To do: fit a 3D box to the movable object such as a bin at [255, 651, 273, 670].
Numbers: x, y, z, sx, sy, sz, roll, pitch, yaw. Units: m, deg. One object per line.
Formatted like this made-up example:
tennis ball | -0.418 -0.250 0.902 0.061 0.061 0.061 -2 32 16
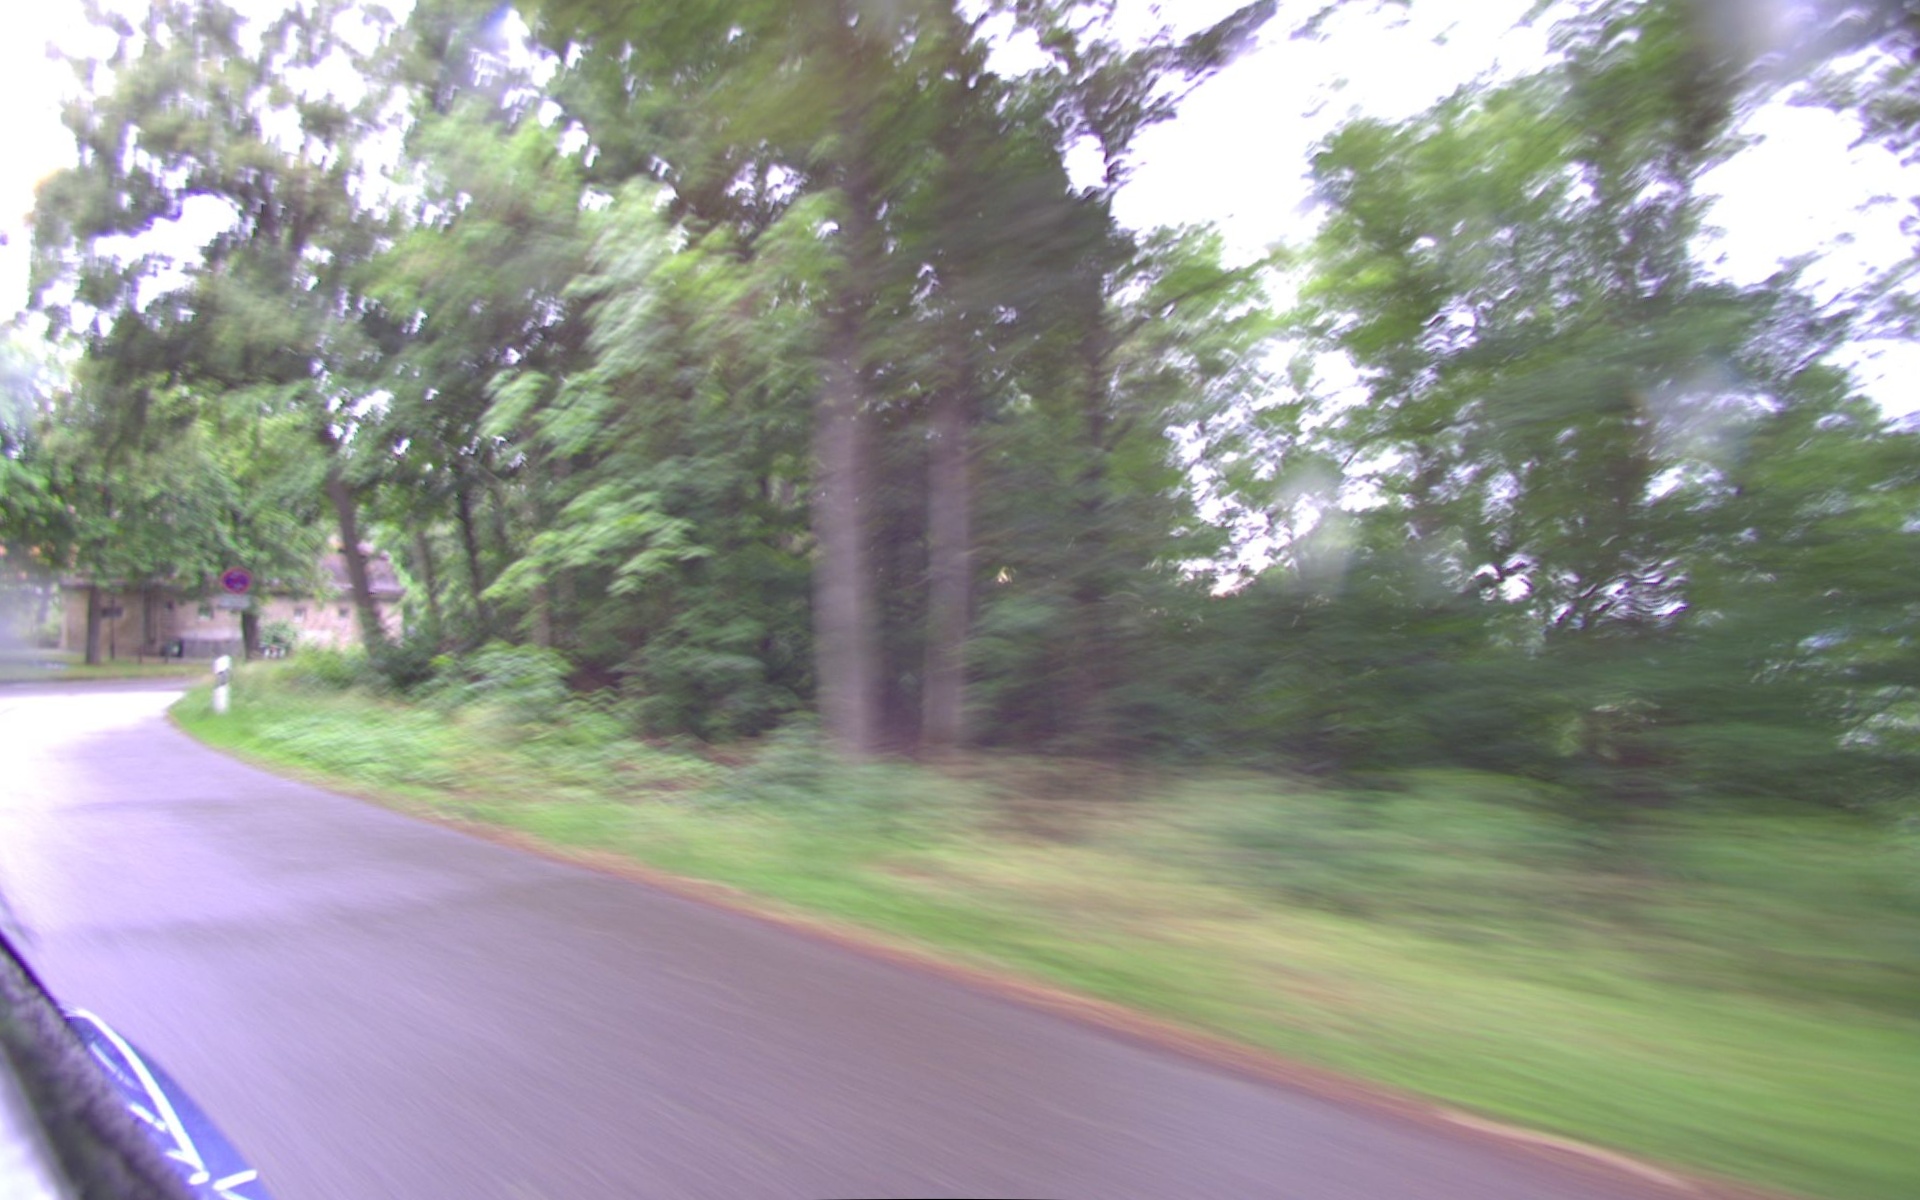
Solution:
movable object such as a bin | -39.463 3.425 57.382 0.622 1.083 0.763 1 -3 -17
